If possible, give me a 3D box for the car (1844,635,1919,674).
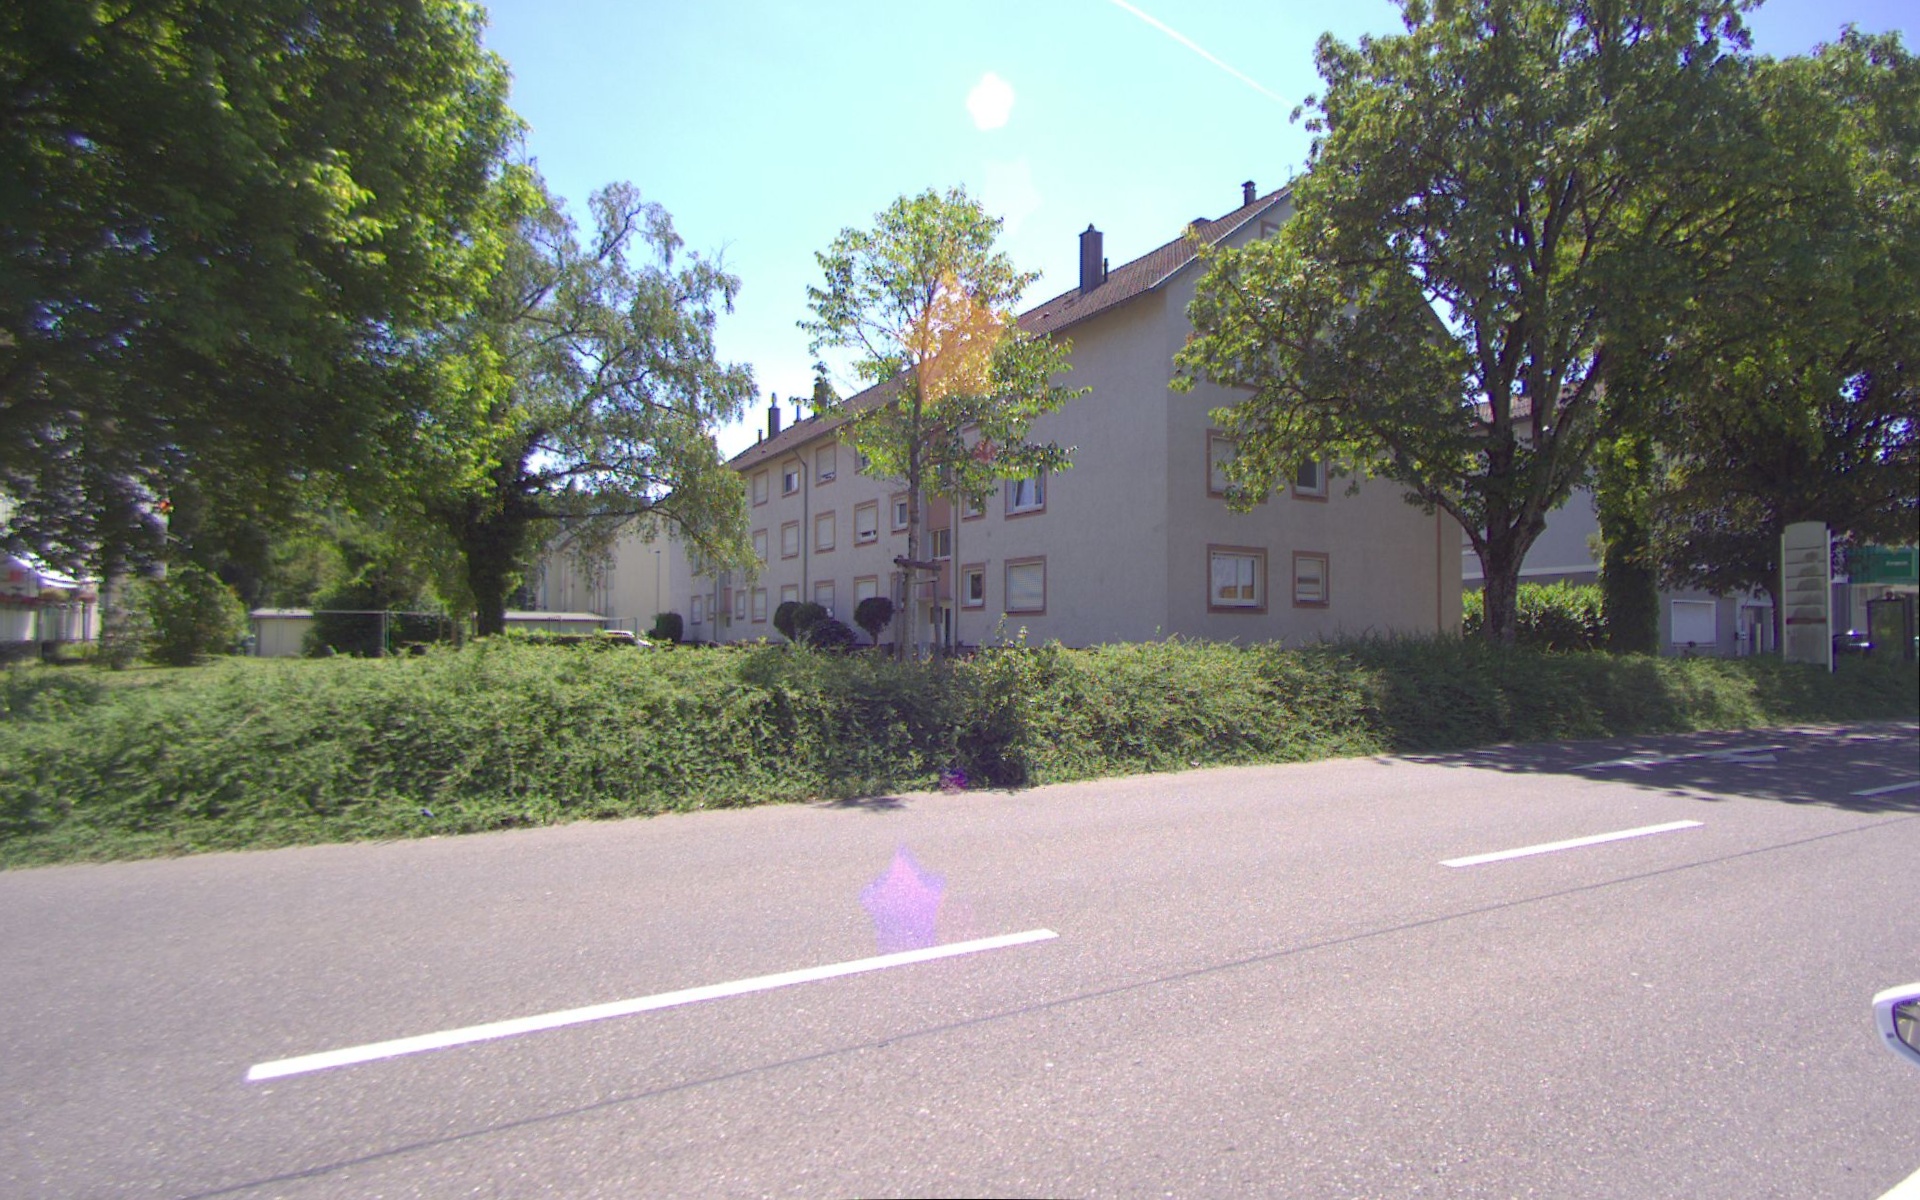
[{"bbox_3d":[37.955,2.161,39.816,4.289,1.458,1.931,0,-2,40],"label":"car"}]

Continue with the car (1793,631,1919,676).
[{"bbox_3d":[34.437,2.003,38.397,1.945,1.585,3.545,2,-2,-28],"label":"car"}]
